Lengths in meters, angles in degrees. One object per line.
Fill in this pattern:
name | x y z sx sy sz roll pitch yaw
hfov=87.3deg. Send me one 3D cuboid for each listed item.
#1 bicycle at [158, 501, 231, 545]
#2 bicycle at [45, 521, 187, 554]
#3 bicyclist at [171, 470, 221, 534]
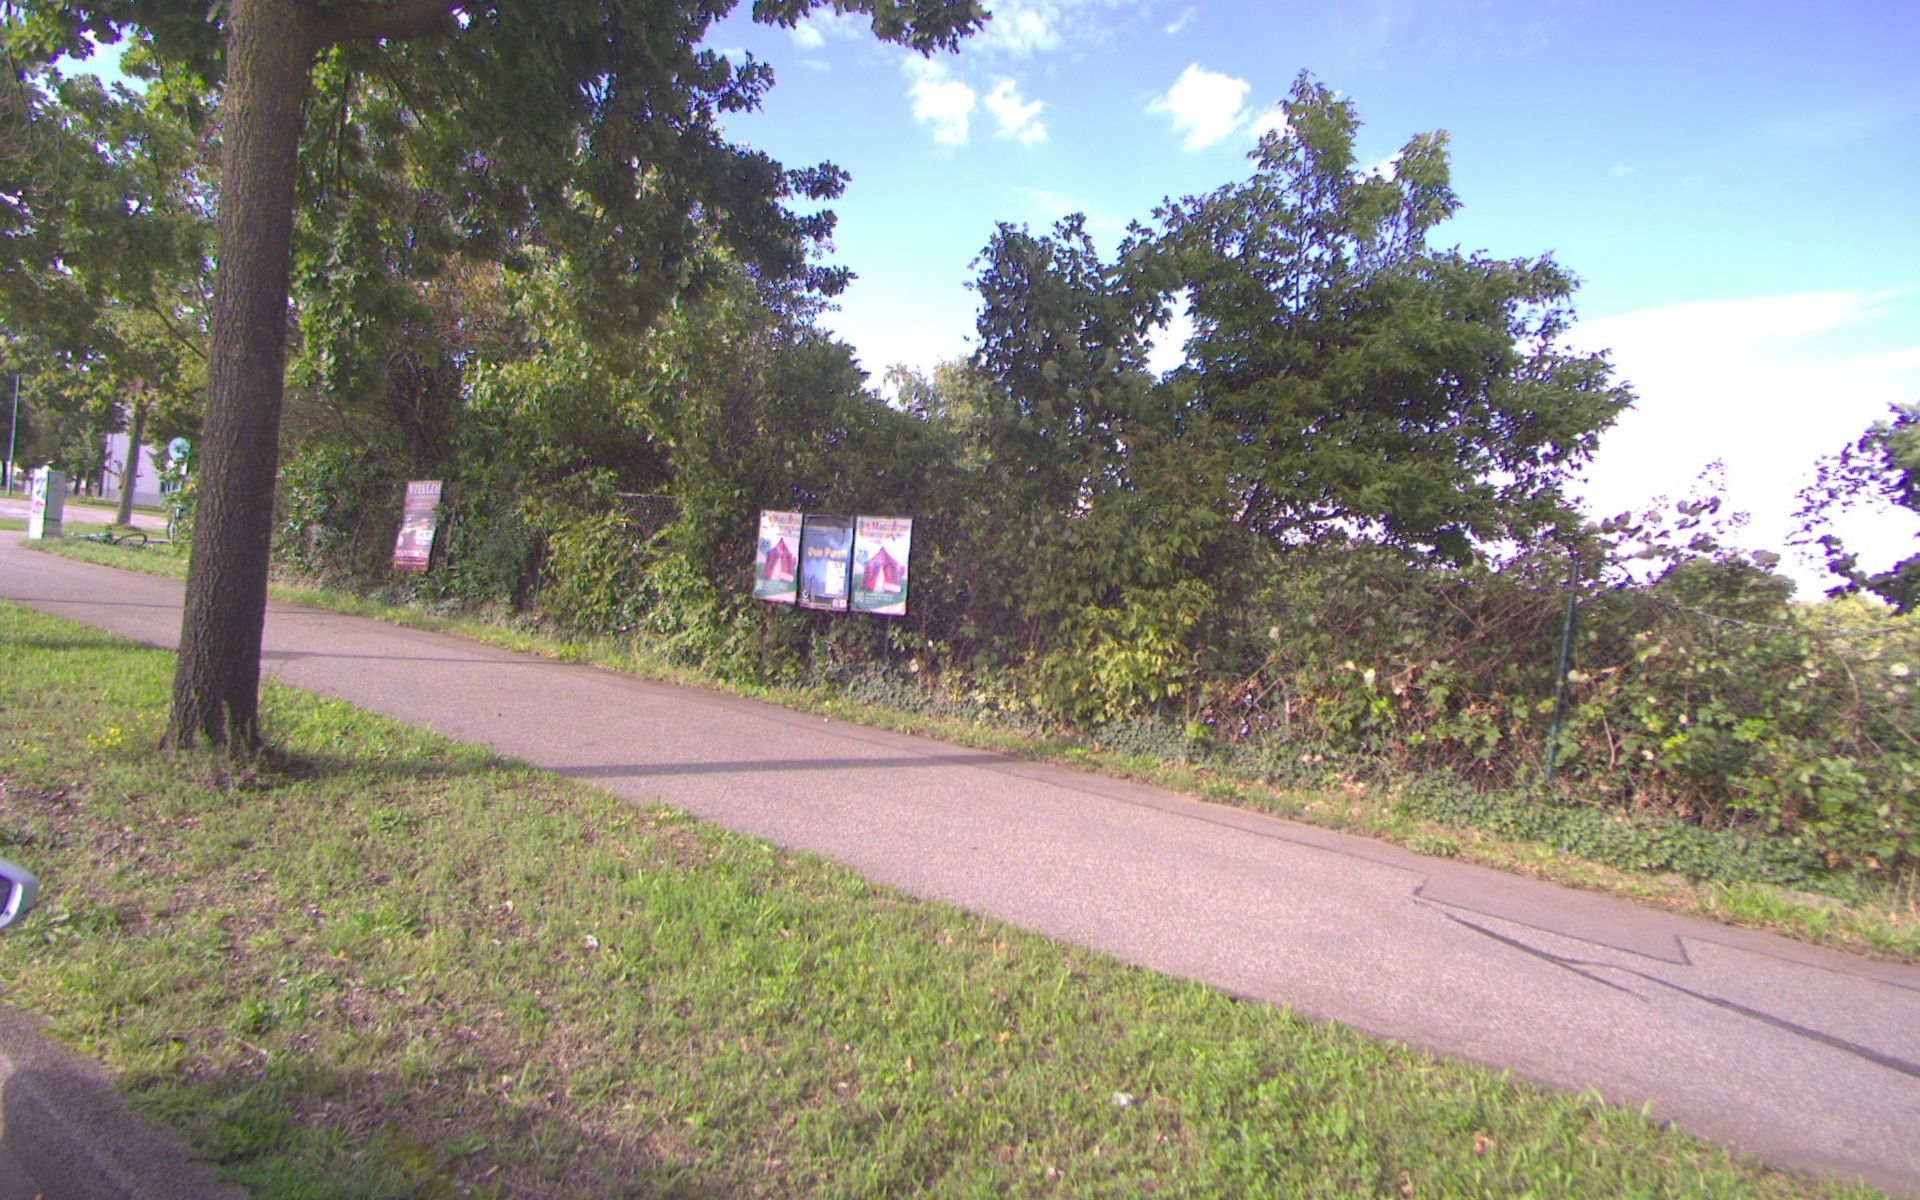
bicycle | -21.836 -2.179 28.734 0.698 1.063 1.775 6 0 -3
bicycle | -19.180 -1.411 22.883 2.529 0.390 1.411 7 1 21
bicyclist | -21.765 -2.775 28.676 0.673 1.668 0.831 6 1 -3
